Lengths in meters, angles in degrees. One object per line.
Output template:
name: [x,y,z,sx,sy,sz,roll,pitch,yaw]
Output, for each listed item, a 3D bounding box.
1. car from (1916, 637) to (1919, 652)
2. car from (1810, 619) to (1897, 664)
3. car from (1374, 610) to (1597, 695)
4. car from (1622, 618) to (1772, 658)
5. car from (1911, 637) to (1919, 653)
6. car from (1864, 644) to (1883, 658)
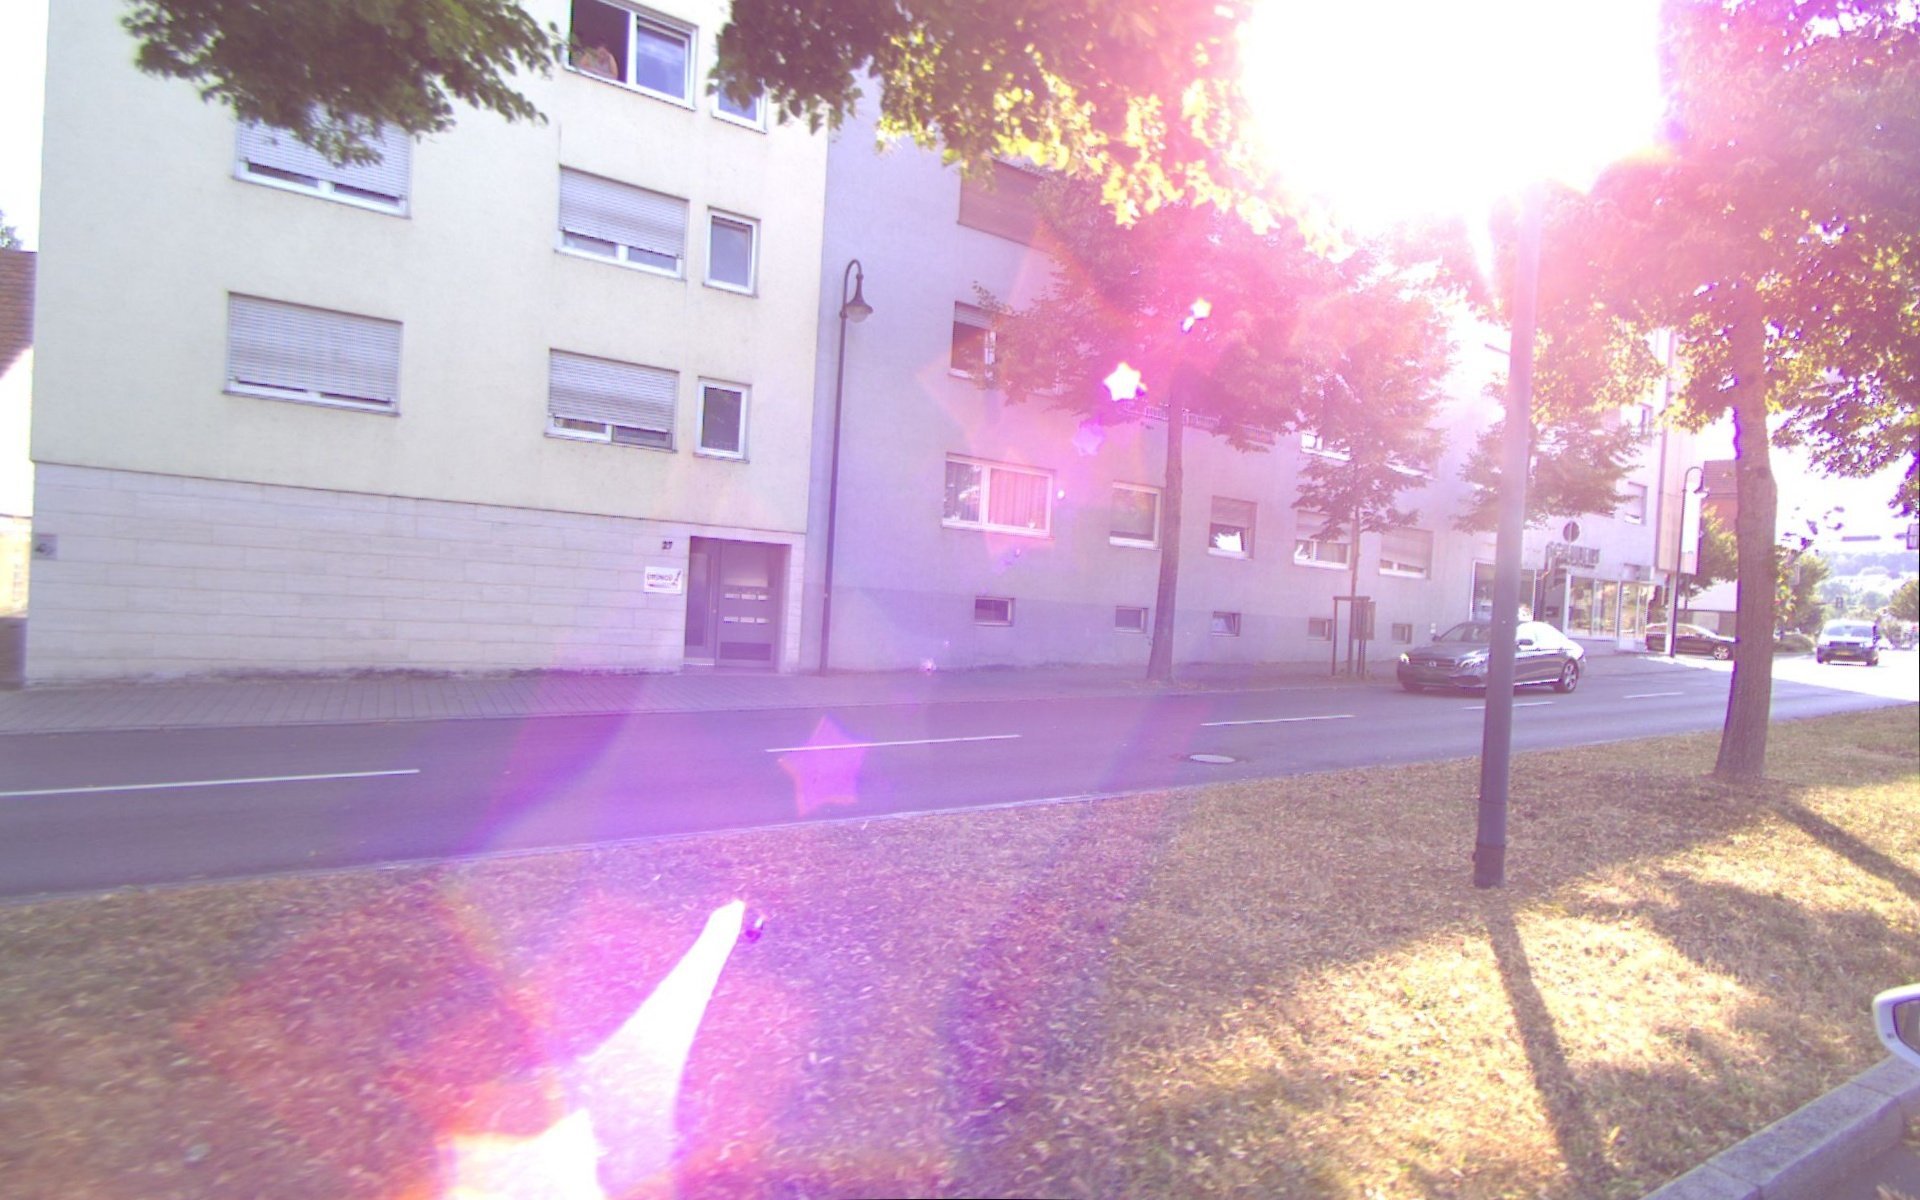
car: [120.488,5.602,124.767,2.190,1.792,4.434,2,0,39]
car: [37.483,1.736,42.101,4.878,1.759,1.838,2,-1,-38]
car: [10.621,1.030,20.172,4.945,1.506,1.841,2,-1,-34]
car: [31.154,1.593,42.579,1.902,1.456,4.816,2,-1,-40]
car: [126.738,5.954,132.599,1.754,2.040,3.976,2,0,44]
car: [120.407,6.716,132.435,1.710,1.701,3.980,2,0,41]
